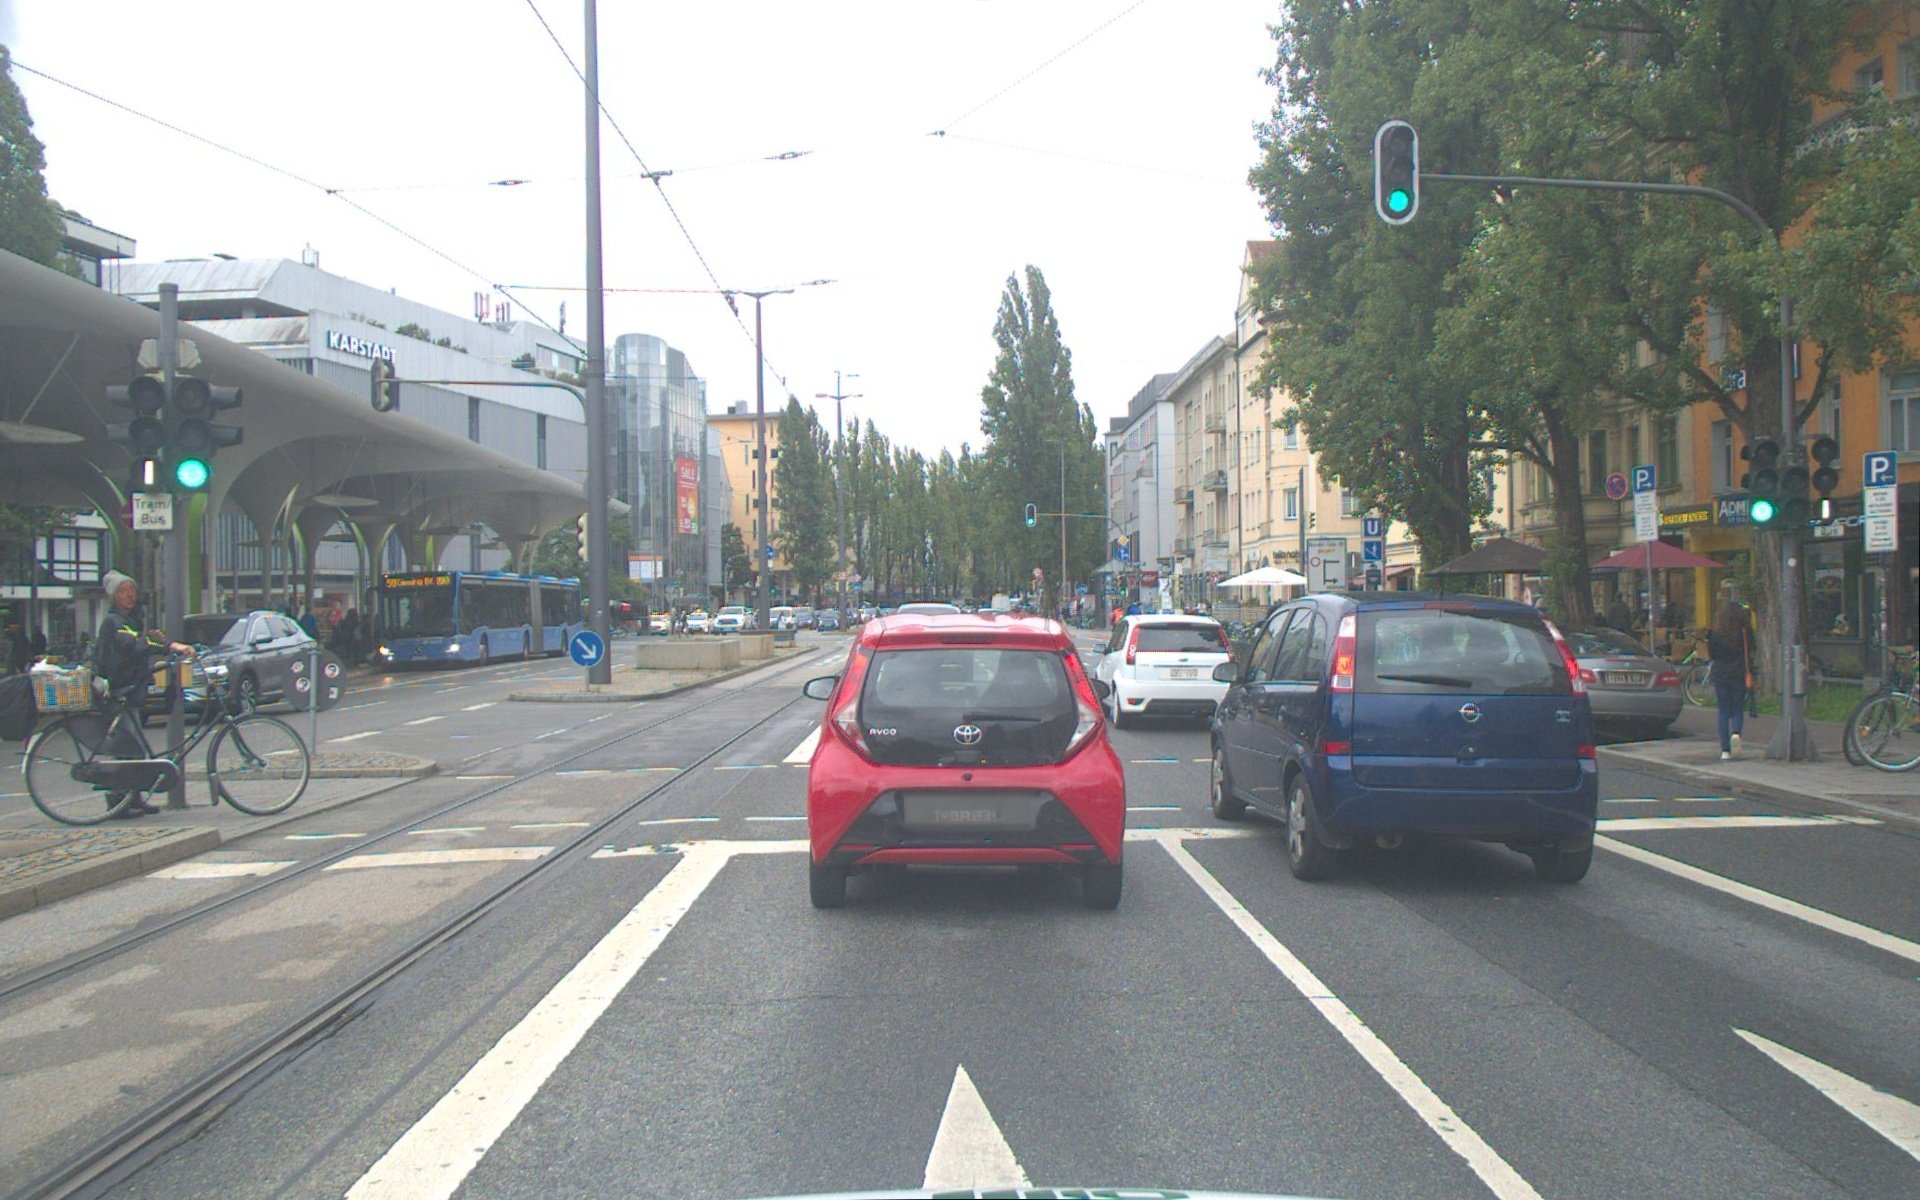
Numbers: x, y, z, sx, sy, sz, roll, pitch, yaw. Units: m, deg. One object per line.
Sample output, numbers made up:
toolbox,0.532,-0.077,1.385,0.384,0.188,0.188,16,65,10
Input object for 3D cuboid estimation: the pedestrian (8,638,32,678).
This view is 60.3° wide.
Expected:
pedestrian,-30.982,1.903,54.506,0.569,1.287,0.512,-1,0,-40

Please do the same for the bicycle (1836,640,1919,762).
bicycle,9.143,0.934,15.380,1.709,1.122,0.358,-1,-1,34

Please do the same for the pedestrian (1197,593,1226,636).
pedestrian,10.462,0.607,68.876,0.867,1.773,0.854,-1,-1,-17

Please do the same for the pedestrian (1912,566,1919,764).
pedestrian,9.201,0.594,15.271,0.686,1.811,0.649,0,0,33

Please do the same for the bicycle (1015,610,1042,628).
bicycle,4.465,1.262,108.645,1.769,1.178,0.546,-1,0,37

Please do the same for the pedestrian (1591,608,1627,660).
pedestrian,15.958,0.836,40.659,0.588,1.243,0.666,-1,0,-1

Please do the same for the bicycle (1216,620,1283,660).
bicycle,7.655,1.061,43.821,1.806,1.013,0.324,1,1,37

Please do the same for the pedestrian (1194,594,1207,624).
pedestrian,13.837,0.526,95.165,0.554,1.700,0.562,-1,3,22

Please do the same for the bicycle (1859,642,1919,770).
bicycle,8.937,0.941,14.597,0.357,1.122,1.716,-1,-1,-45

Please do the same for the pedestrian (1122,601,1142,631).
pedestrian,9.882,0.923,95.254,0.820,1.720,0.816,-1,0,37

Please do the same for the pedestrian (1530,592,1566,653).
pedestrian,16.416,0.619,46.173,0.696,1.661,0.786,-1,-1,-1

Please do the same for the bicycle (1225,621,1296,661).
bicycle,7.849,1.057,43.203,1.799,1.013,0.375,0,1,23

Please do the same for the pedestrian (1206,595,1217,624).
pedestrian,14.500,0.539,95.265,0.548,1.637,0.568,-1,3,12

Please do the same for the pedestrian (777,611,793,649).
pedestrian,-7.662,1.311,72.512,0.513,1.647,0.461,-2,-1,43

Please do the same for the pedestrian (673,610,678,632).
pedestrian,-20.689,1.501,120.286,0.347,1.594,0.270,-1,0,-12

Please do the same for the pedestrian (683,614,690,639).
pedestrian,-19.911,1.951,120.343,0.437,1.790,0.354,-1,0,-12

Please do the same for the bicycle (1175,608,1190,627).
bicycle,13.051,1.036,97.037,0.485,1.077,1.864,-1,0,-5

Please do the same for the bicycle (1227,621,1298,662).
bicycle,7.745,1.057,42.404,1.806,1.013,0.374,1,1,37

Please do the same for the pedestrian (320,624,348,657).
pedestrian,-25.823,1.656,68.225,0.833,1.340,0.865,0,-1,-45

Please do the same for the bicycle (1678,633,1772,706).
bicycle,11.113,0.992,24.075,0.577,0.982,1.653,-1,0,-1

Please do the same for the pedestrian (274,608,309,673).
pedestrian,-18.430,1.106,45.623,0.701,1.752,0.879,-1,0,-11

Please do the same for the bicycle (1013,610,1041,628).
bicycle,4.460,1.268,110.137,1.763,1.178,0.486,-1,0,25

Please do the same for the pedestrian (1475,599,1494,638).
pedestrian,18.600,0.644,58.672,0.485,1.355,0.552,-1,-1,-1

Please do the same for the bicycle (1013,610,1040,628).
bicycle,4.368,1.263,109.326,1.769,1.178,0.546,-1,0,37

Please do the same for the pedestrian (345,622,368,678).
pedestrian,-19.128,1.572,52.434,0.559,1.764,0.505,-1,-1,-6

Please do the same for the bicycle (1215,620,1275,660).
bicycle,7.833,1.092,45.467,0.322,1.013,1.813,-1,1,-43

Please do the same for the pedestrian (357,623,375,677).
pedestrian,-17.992,1.516,50.108,0.385,1.633,0.390,-1,0,-6

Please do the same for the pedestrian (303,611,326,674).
pedestrian,-18.505,1.216,47.414,0.556,1.774,0.752,-1,0,-19

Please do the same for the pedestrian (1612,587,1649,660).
pedestrian,16.523,0.571,40.766,0.588,1.770,0.666,-1,-1,-1

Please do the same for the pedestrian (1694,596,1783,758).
pedestrian,7.908,0.759,16.789,0.746,1.590,0.761,0,0,30

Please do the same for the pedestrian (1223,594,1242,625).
pedestrian,16.176,0.550,98.317,0.914,1.786,1.065,-1,0,-1

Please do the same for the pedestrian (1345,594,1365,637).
pedestrian,15.701,0.610,65.721,0.602,1.661,0.677,-1,-1,-1

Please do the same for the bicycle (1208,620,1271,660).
bicycle,7.620,1.087,45.130,1.809,1.013,0.323,1,1,42

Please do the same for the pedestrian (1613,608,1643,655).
pedestrian,18.768,0.877,46.471,0.571,1.303,0.583,-1,-1,-2

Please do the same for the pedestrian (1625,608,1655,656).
pedestrian,18.764,0.874,45.632,0.571,1.303,0.583,-1,-1,-2

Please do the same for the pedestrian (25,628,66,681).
pedestrian,-31.198,1.849,56.419,0.853,1.760,0.895,-1,0,0

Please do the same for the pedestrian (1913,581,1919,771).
pedestrian,8.925,0.667,14.620,0.750,1.666,0.690,-1,1,-44

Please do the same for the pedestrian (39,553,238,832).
pedestrian,-5.676,0.620,11.468,0.840,1.843,0.898,0,-1,15
